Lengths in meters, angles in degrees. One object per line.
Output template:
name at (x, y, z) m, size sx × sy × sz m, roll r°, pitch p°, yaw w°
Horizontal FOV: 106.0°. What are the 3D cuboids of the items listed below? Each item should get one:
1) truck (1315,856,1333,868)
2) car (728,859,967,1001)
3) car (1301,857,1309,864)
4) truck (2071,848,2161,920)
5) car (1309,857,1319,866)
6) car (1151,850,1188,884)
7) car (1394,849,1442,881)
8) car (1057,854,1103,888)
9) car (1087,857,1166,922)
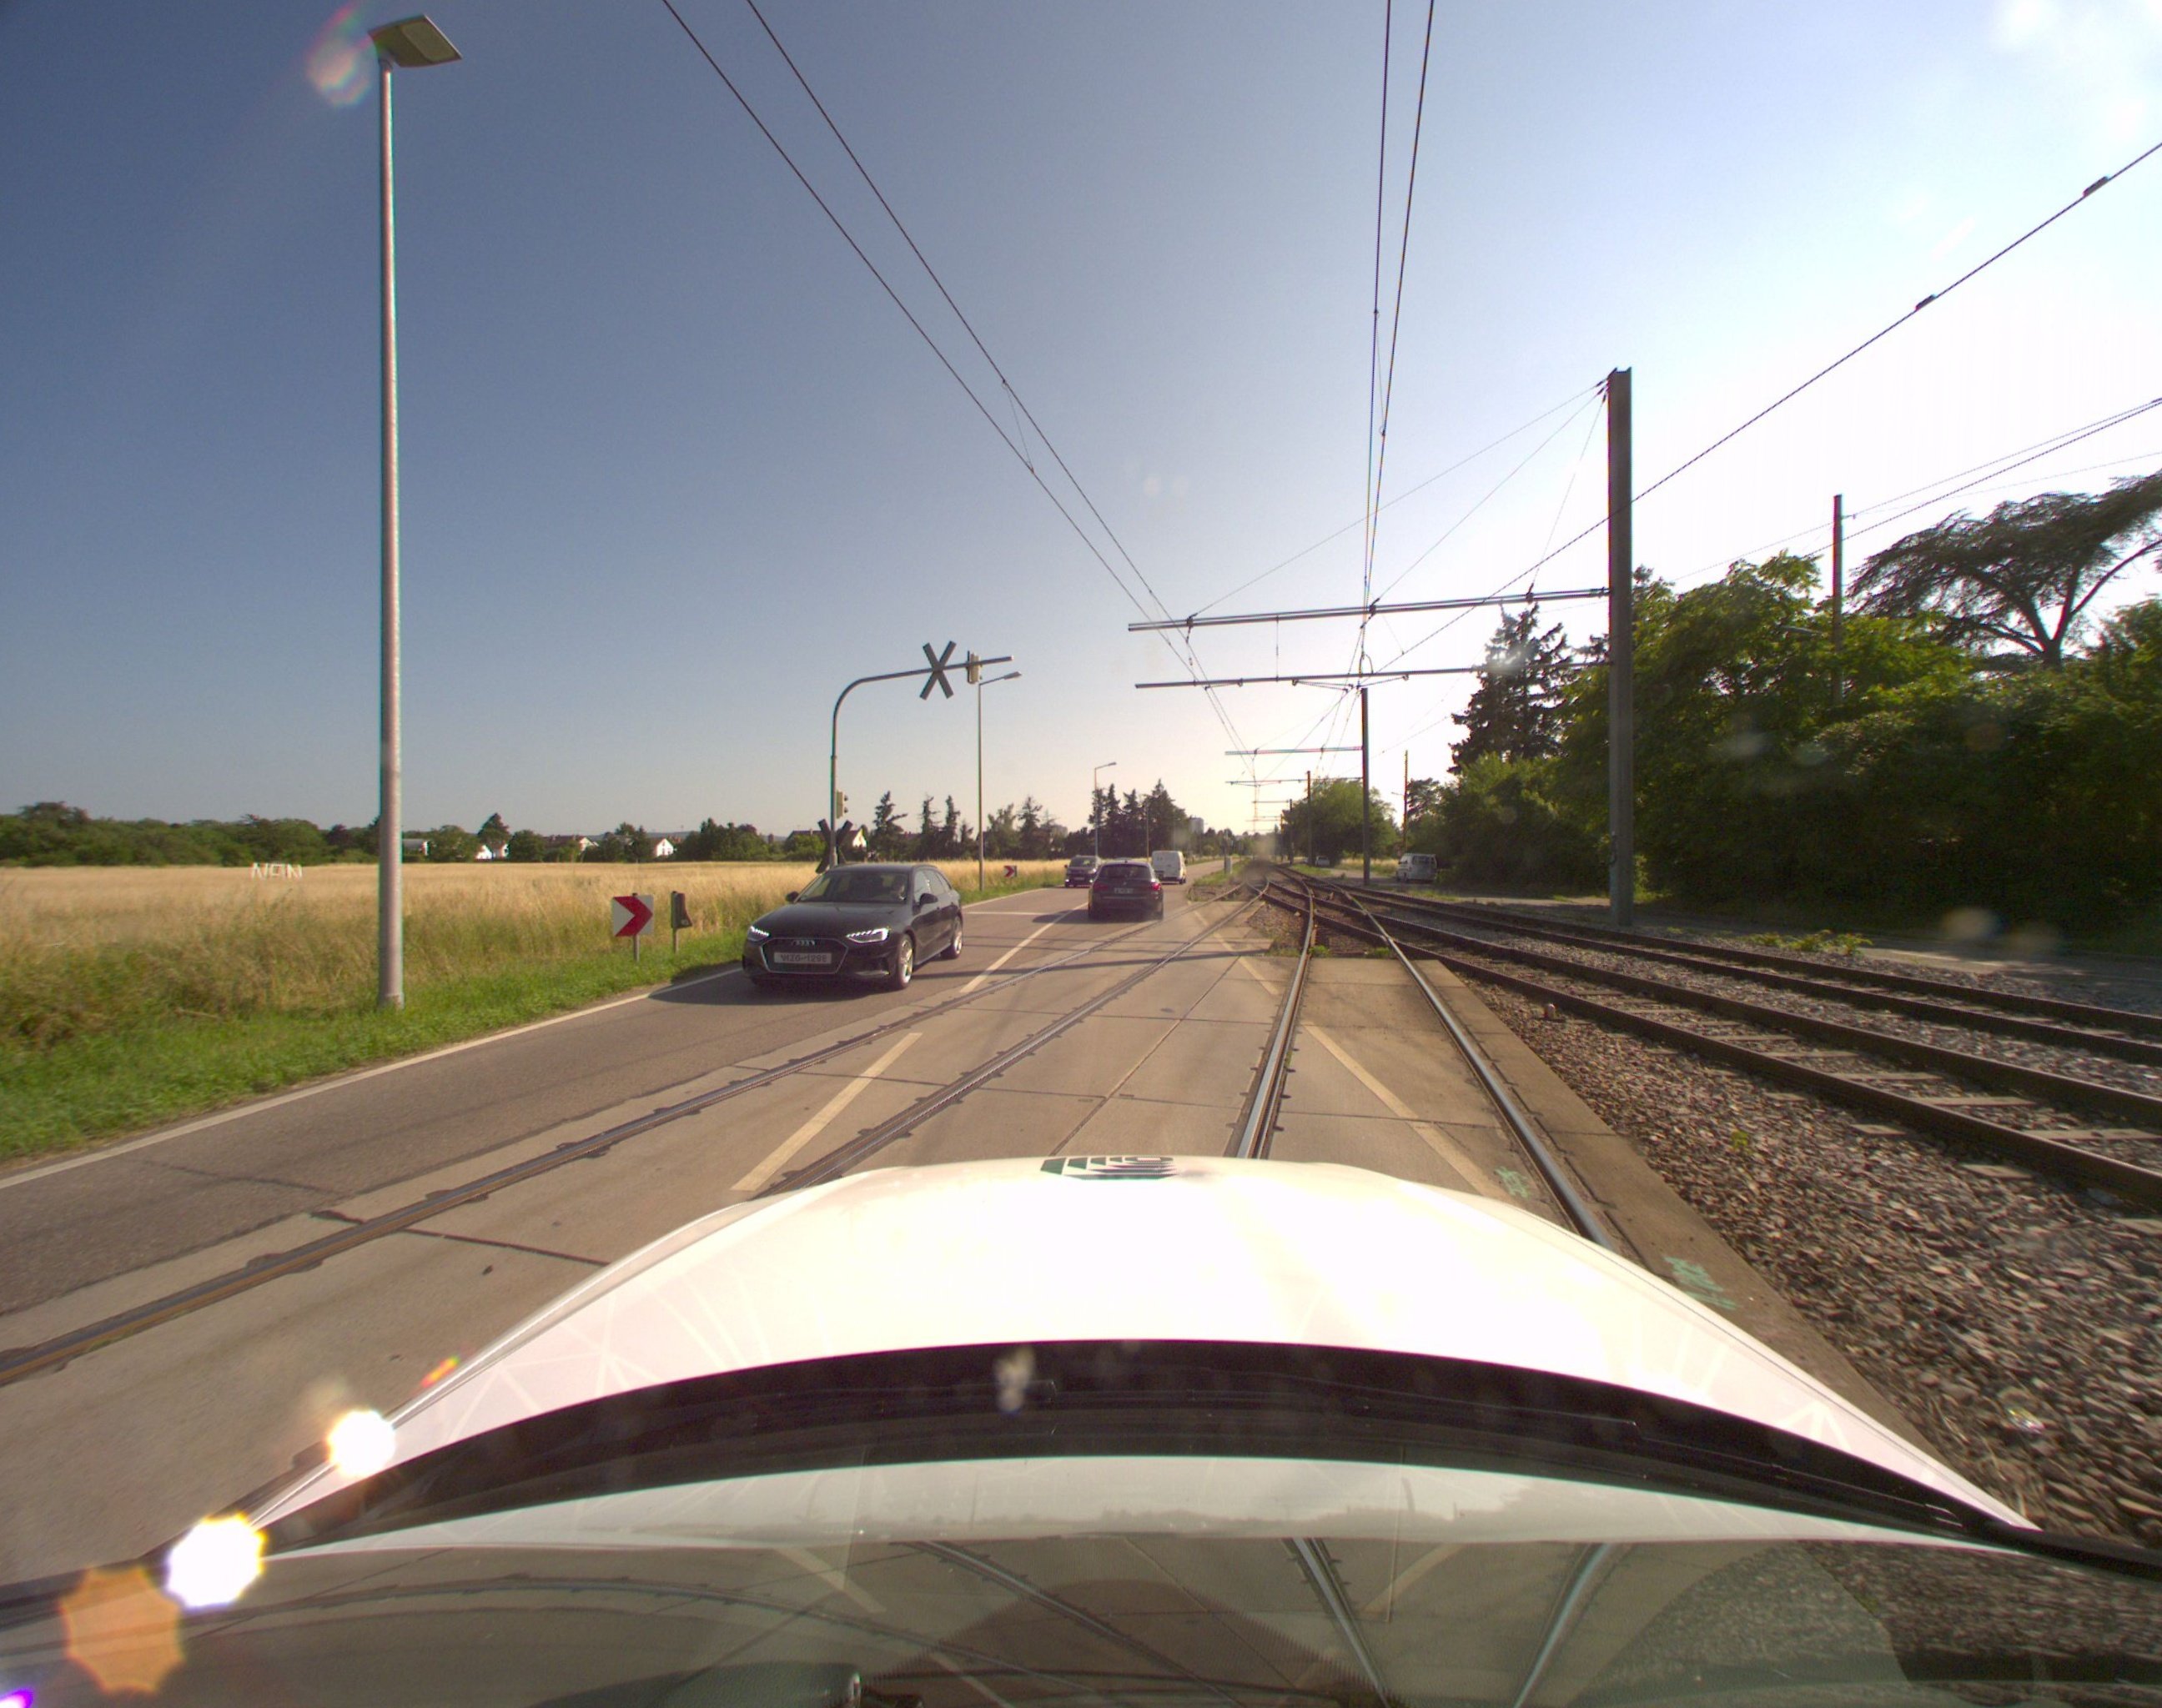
truck at (38.520, 1.312, 129.135) m, size 2.190 × 1.819 × 5.948 m, roll 0°, pitch 0°, yaw 12°
car at (-2.806, 0.824, 10.858) m, size 1.685 × 1.439 × 4.288 m, roll 0°, pitch 0°, yaw 4°
car at (47.985, 1.471, 174.398) m, size 1.610 × 1.398 × 3.501 m, roll 1°, pitch -1°, yaw 12°
truck at (28.702, 0.777, 20.216) m, size 1.984 × 1.854 × 5.415 m, roll 0°, pitch 0°, yaw 5°
car at (44.843, 1.433, 156.619) m, size 1.722 × 1.679 × 3.557 m, roll 1°, pitch -1°, yaw 14°
car at (5.513, 0.769, 50.300) m, size 1.846 × 1.988 × 5.123 m, roll 0°, pitch 0°, yaw 10°
car at (22.720, 0.727, 55.038) m, size 1.981 × 2.004 × 5.083 m, roll 2°, pitch 0°, yaw 11°
car at (-0.001, 0.823, 42.526) m, size 1.696 × 1.665 × 4.601 m, roll 0°, pitch 0°, yaw 8°
car at (1.171, 0.845, 21.575) m, size 1.862 × 1.452 × 4.746 m, roll 0°, pitch 1°, yaw 2°
